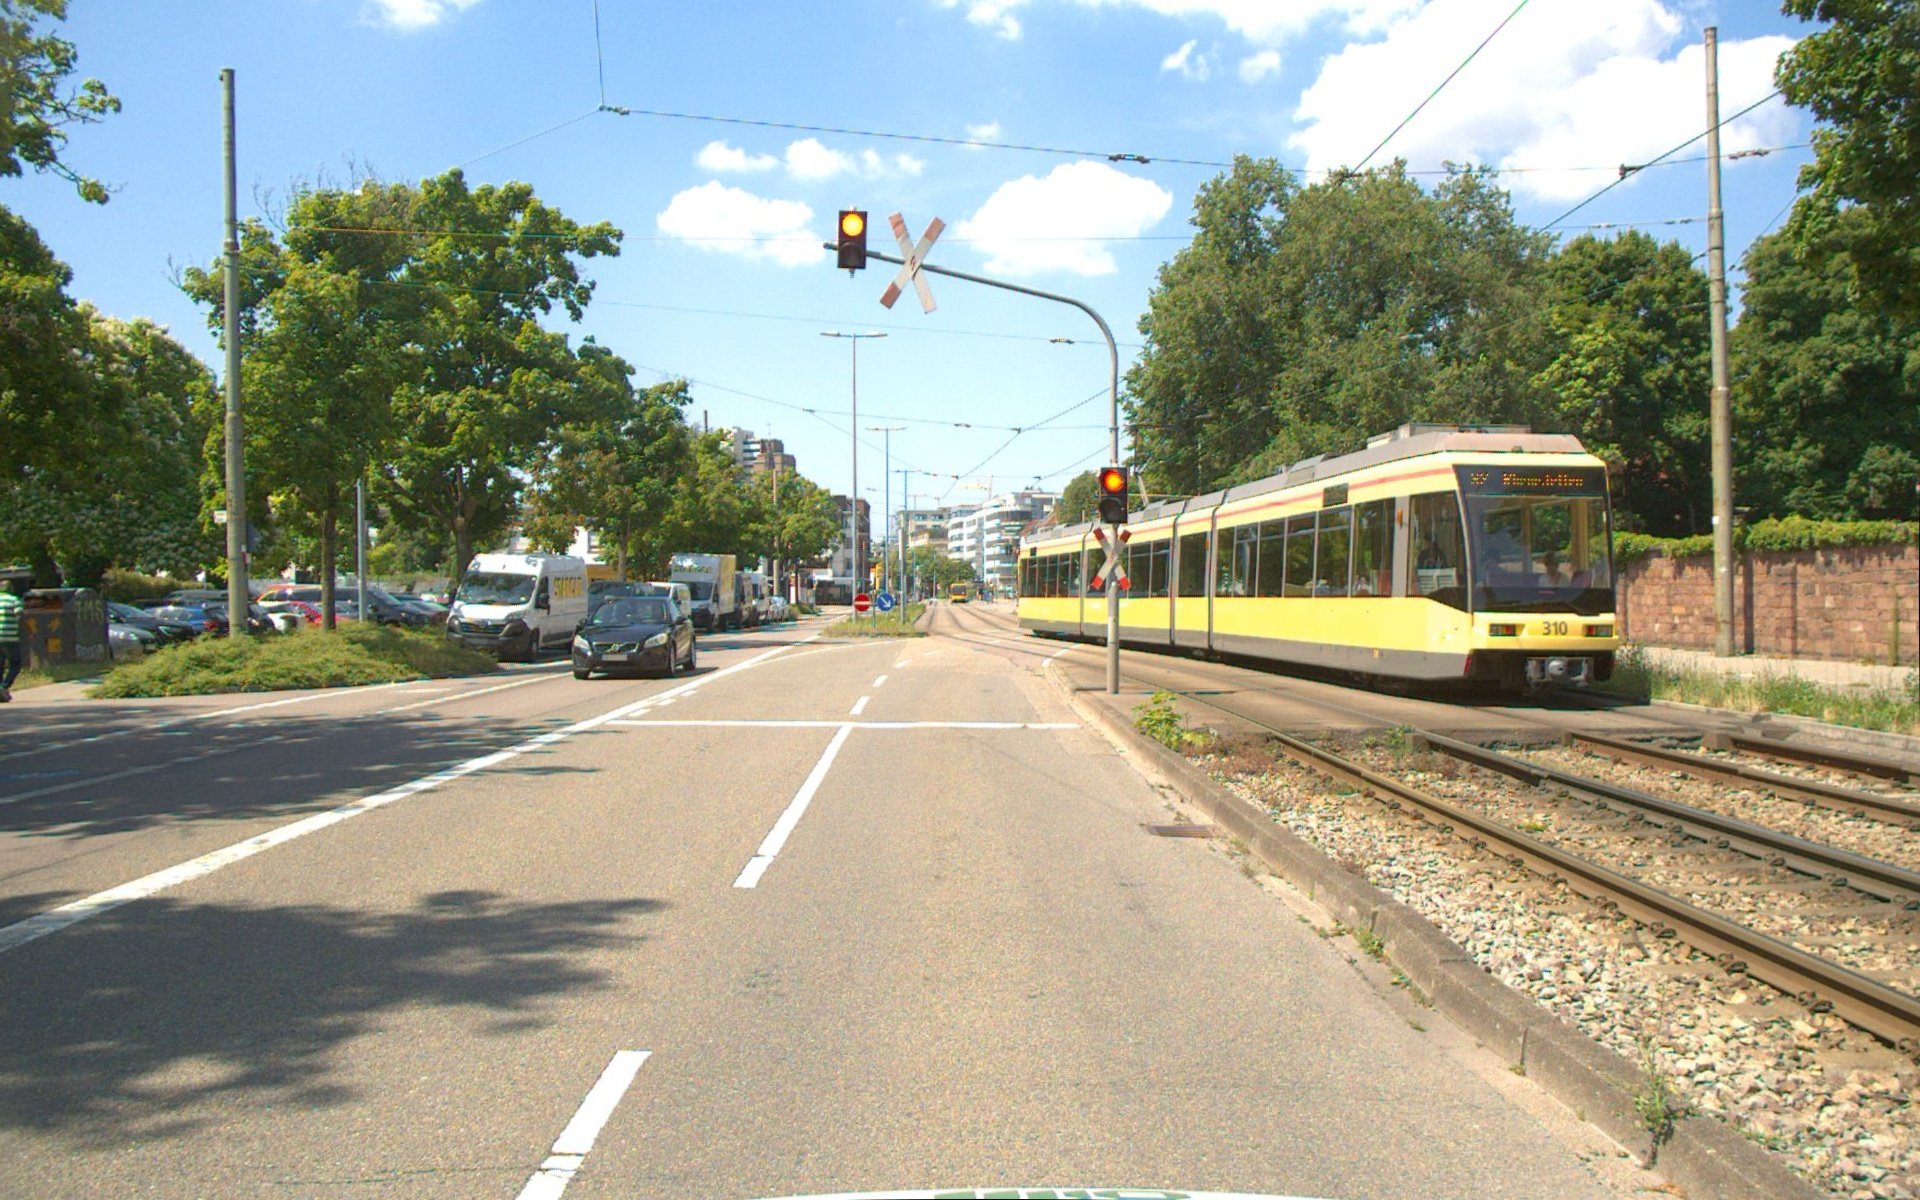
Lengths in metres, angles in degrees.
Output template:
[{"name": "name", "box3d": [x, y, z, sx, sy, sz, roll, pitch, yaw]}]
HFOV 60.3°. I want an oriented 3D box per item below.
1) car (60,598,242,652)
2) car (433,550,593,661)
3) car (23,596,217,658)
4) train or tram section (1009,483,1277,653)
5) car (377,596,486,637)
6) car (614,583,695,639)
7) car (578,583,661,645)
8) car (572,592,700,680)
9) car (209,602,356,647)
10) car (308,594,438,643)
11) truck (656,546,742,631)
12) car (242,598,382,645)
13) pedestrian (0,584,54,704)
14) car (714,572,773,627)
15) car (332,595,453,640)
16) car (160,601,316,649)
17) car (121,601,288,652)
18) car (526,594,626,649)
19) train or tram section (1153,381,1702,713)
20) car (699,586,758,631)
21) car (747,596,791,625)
[{"name": "car", "box3d": [-21.394, 0.646, 43.848, 3.906, 1.362, 1.804, -1, 0, -2]}, {"name": "car", "box3d": [-10.881, 0.100, 40.823, 2.112, 2.530, 6.194, 0, 0, 2]}, {"name": "car", "box3d": [-20.993, 0.659, 41.436, 3.906, 1.467, 1.804, -1, 0, -2]}, {"name": "train or tram section", "box3d": [4.407, -0.812, 47.113, 2.888, 3.756, 20.251, 1, 1, -7]}, {"name": "car", "box3d": [-21.614, 0.659, 67.757, 3.906, 1.634, 1.804, -1, 0, -2]}, {"name": "car", "box3d": [-11.093, 0.384, 60.390, 2.019, 1.931, 4.871, -1, 0, 0]}, {"name": "car", "box3d": [-11.125, 0.425, 54.313, 1.830, 1.928, 4.270, -1, 0, 0]}, {"name": "car", "box3d": [-5.848, 0.606, 30.271, 1.644, 1.422, 4.004, -2, 0, -2]}, {"name": "car", "box3d": [-21.454, 0.760, 52.508, 3.906, 1.362, 1.804, -1, 0, -2]}, {"name": "car", "box3d": [-20.556, 0.648, 58.024, 3.906, 1.634, 1.804, -1, 0, -2]}, {"name": "truck", "box3d": [-10.792, -0.470, 68.988, 2.112, 3.266, 7.084, 3, 0, 2]}, {"name": "car", "box3d": [-21.413, 0.701, 54.798, 3.906, 1.467, 1.805, -1, 0, -2]}, {"name": "pedestrian", "box3d": [-15.008, 0.683, 26.108, 0.955, 1.855, 0.794, -1, 0, -4]}, {"name": "car", "box3d": [-10.970, -0.058, 84.225, 2.112, 2.685, 5.613, 1, 0, 2]}, {"name": "car", "box3d": [-21.299, 0.649, 62.154, 3.906, 1.634, 1.804, -1, 0, -2]}, {"name": "car", "box3d": [-21.752, 0.735, 49.942, 3.906, 1.362, 1.804, -1, 0, -2]}, {"name": "car", "box3d": [-21.565, 0.742, 47.307, 3.906, 1.362, 1.804, -1, 0, -2]}, {"name": "car", "box3d": [-10.910, 0.568, 47.236, 1.830, 1.462, 4.342, -1, 0, 0]}, {"name": "train or tram section", "box3d": [6.427, -0.689, 28.050, 2.885, 3.756, 18.374, 1, 1, -4]}, {"name": "car", "box3d": [-10.681, 0.355, 76.605, 2.019, 2.011, 4.871, -1, 0, 0]}, {"name": "car", "box3d": [-11.253, 0.609, 97.612, 2.019, 1.609, 4.871, -1, 0, 0]}]
